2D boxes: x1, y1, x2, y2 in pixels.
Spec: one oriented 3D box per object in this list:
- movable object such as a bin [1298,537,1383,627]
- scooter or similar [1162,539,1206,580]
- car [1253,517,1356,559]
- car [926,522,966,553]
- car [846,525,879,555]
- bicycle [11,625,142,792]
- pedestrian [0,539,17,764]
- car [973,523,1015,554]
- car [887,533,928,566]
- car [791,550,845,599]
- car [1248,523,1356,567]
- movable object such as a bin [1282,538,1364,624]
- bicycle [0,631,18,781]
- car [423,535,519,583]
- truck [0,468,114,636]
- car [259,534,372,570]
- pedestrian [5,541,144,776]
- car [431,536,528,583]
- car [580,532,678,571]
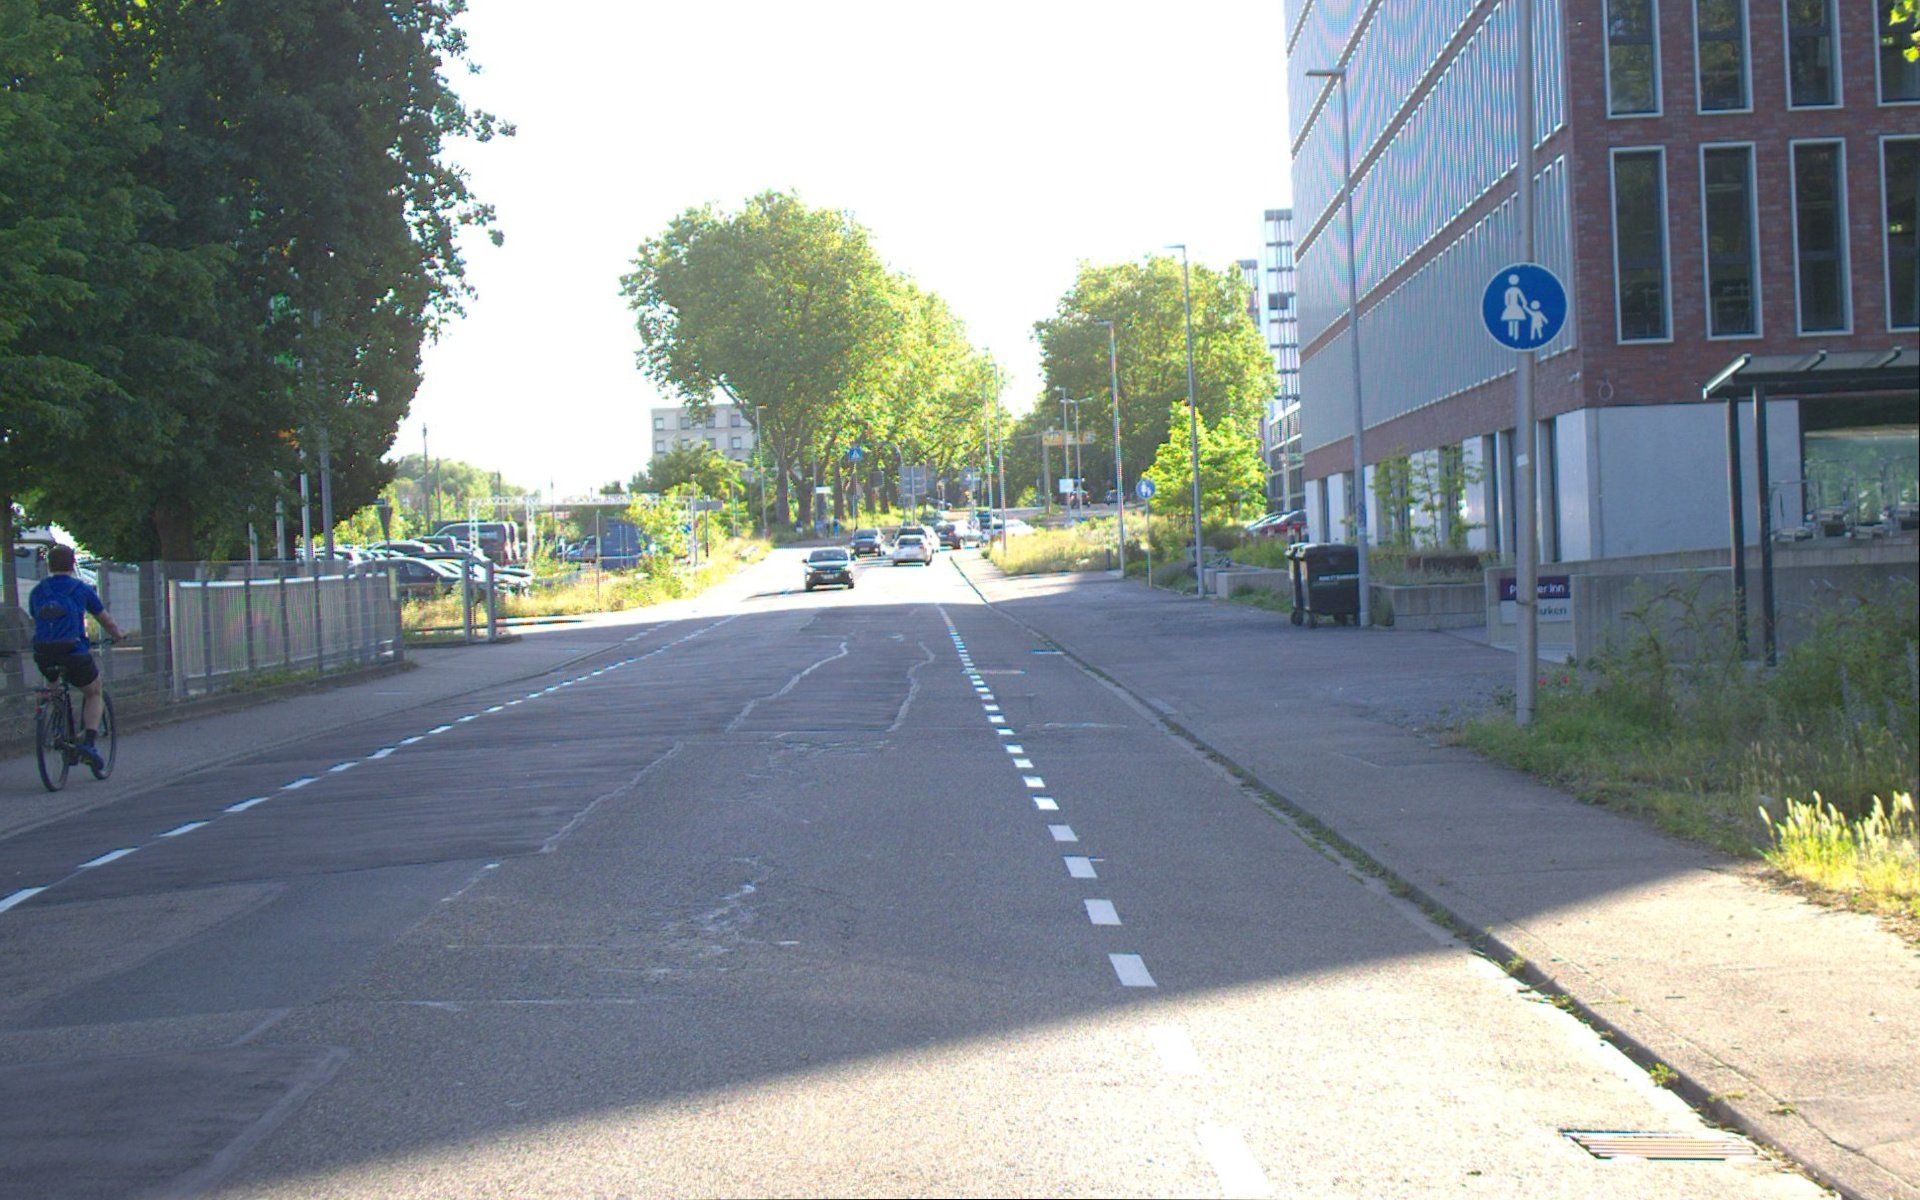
[{"bbox_3d":[6.071,-0.302,54.867,1.128,1.367,1.345,-2,1,-1],"label":"movable object such as a bin"},{"bbox_3d":[7.099,-1.289,108.973,1.340,1.241,0.423,-2,1,4],"label":"scooter or similar"},{"bbox_3d":[14.528,-2.625,144.989,4.184,1.575,1.851,-2,1,3],"label":"car"},{"bbox_3d":[-0.795,-3.569,195.452,2.163,1.678,4.000,-2,1,0],"label":"car"},{"bbox_3d":[-5.300,-3.278,187.701,1.654,1.498,4.000,-3,1,-1],"label":"car"},{"bbox_3d":[-6.721,0.802,26.241,0.446,1.144,2.201,-1,1,-1],"label":"bicycle"},{"bbox_3d":[-7.714,0.410,26.172,0.721,1.715,1.057,-2,1,-1],"label":"pedestrian"},{"bbox_3d":[1.982,-3.574,200.866,2.163,1.678,4.001,-2,1,-3],"label":"car"},{"bbox_3d":[-2.486,-2.417,163.957,1.790,1.415,4.000,-1,2,1],"label":"car"},{"bbox_3d":[-5.093,-0.941,123.817,1.740,1.520,4.112,-6,2,-1],"label":"car"},{"bbox_3d":[13.727,-2.207,138.204,4.184,1.575,1.851,-2,1,3],"label":"car"},{"bbox_3d":[5.962,-0.319,56.488,1.128,1.331,1.345,-2,1,-1],"label":"movable object such as a bin"},{"bbox_3d":[-7.667,0.839,26.196,0.470,1.144,1.869,-1,1,-1],"label":"bicycle"},{"bbox_3d":[-27.190,-2.276,191.301,4.926,2.451,2.320,-2,1,-1],"label":"car"},{"bbox_3d":[-24.037,-0.971,75.637,10.097,3.602,2.776,-1,1,-1],"label":"truck"},{"bbox_3d":[-26.983,-2.018,143.964,4.321,1.388,1.878,-1,2,0],"label":"car"},{"bbox_3d":[-6.708,0.423,26.089,0.721,1.715,1.057,-2,1,-1],"label":"pedestrian"},{"bbox_3d":[-27.100,-2.274,193.971,5.096,2.451,2.320,-2,1,-1],"label":"car"},{"bbox_3d":[-17.118,-2.527,178.047,4.845,1.828,2.000,-2,1,-1],"label":"car"}]
